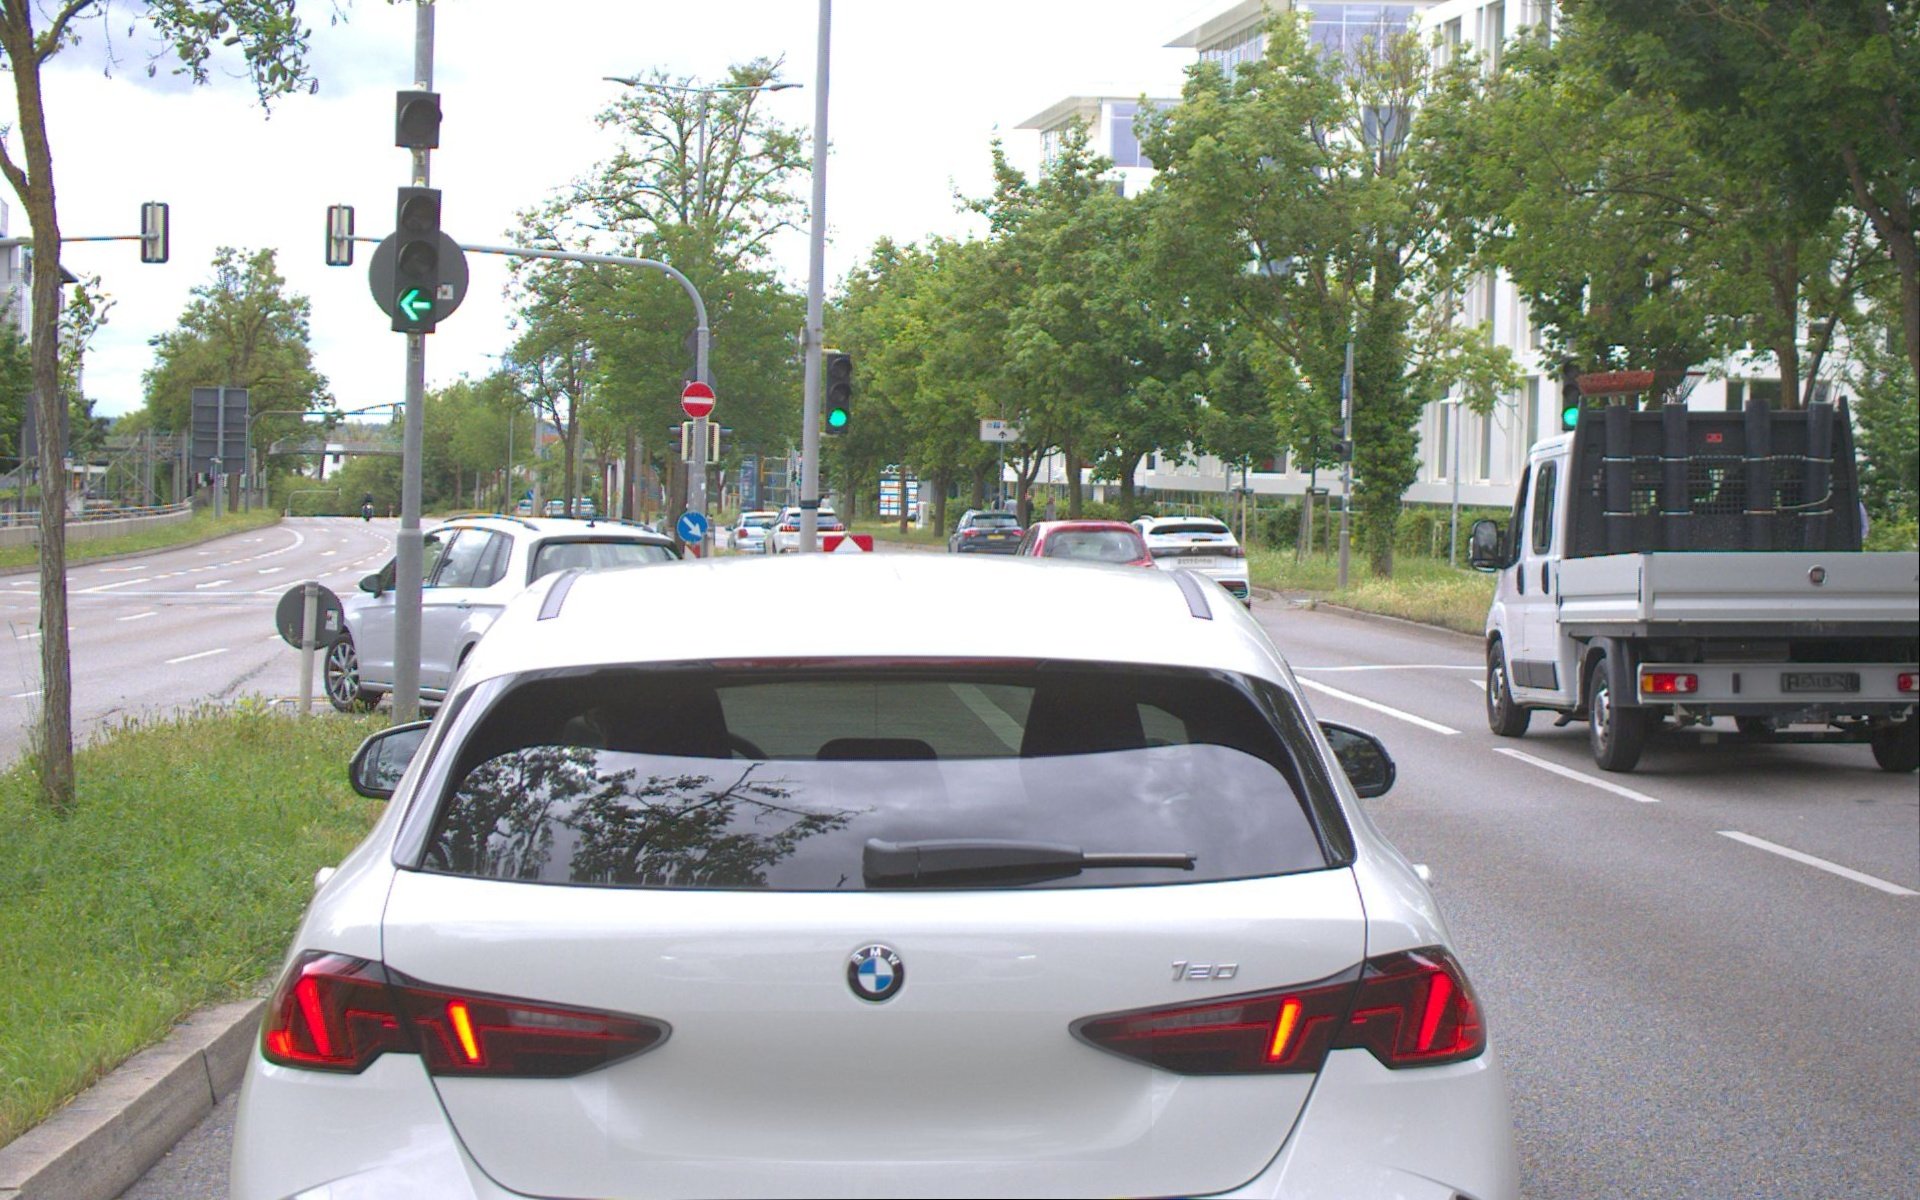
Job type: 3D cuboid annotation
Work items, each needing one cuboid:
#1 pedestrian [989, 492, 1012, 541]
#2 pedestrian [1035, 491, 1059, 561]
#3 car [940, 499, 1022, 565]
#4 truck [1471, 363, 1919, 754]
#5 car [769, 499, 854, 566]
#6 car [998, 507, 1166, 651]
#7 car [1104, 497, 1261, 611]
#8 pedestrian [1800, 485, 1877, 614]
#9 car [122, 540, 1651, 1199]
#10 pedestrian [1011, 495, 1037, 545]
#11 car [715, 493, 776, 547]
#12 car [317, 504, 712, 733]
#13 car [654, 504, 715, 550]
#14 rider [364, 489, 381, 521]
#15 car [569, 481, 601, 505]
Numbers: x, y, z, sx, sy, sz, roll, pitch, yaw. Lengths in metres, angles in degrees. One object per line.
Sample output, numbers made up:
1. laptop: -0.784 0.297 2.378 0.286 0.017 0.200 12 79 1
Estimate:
1. pedestrian: 1.658 -3.452 141.590 0.762 2.007 0.754 1 1 -15
2. pedestrian: 3.277 -2.788 129.464 0.831 2.618 0.646 1 1 0
3. car: 0.490 -1.654 85.010 1.657 1.507 4.000 1 -1 -5
4. truck: 4.961 -0.300 22.427 2.211 2.196 5.845 1 1 -1
5. car: -3.663 -1.667 84.302 1.854 1.590 4.315 0 1 -6
6. car: 1.342 -0.269 39.146 1.716 1.553 3.858 0 1 -1
7. car: 3.135 -0.678 49.143 1.715 1.550 4.090 0 1 -4
8. pedestrian: 10.846 -0.624 42.444 0.741 1.568 0.674 1 1 -1
9. car: -0.115 0.640 6.141 1.822 1.433 4.000 1 1 -1
10. pedestrian: 2.592 -3.255 139.519 0.848 2.007 0.606 1 1 -15
11. car: -6.139 -2.285 98.152 1.605 1.463 3.676 1 1 -5
12. car: -3.453 0.089 26.050 1.549 1.563 4.001 1 1 -29
13. car: -9.963 -2.638 124.083 1.891 1.590 4.315 1 1 -8
14. rider: -33.247 -5.368 194.689 0.846 1.765 0.808 1 1 -3
15. car: -26.063 -7.440 238.954 1.993 1.664 4.001 -1 1 -10
